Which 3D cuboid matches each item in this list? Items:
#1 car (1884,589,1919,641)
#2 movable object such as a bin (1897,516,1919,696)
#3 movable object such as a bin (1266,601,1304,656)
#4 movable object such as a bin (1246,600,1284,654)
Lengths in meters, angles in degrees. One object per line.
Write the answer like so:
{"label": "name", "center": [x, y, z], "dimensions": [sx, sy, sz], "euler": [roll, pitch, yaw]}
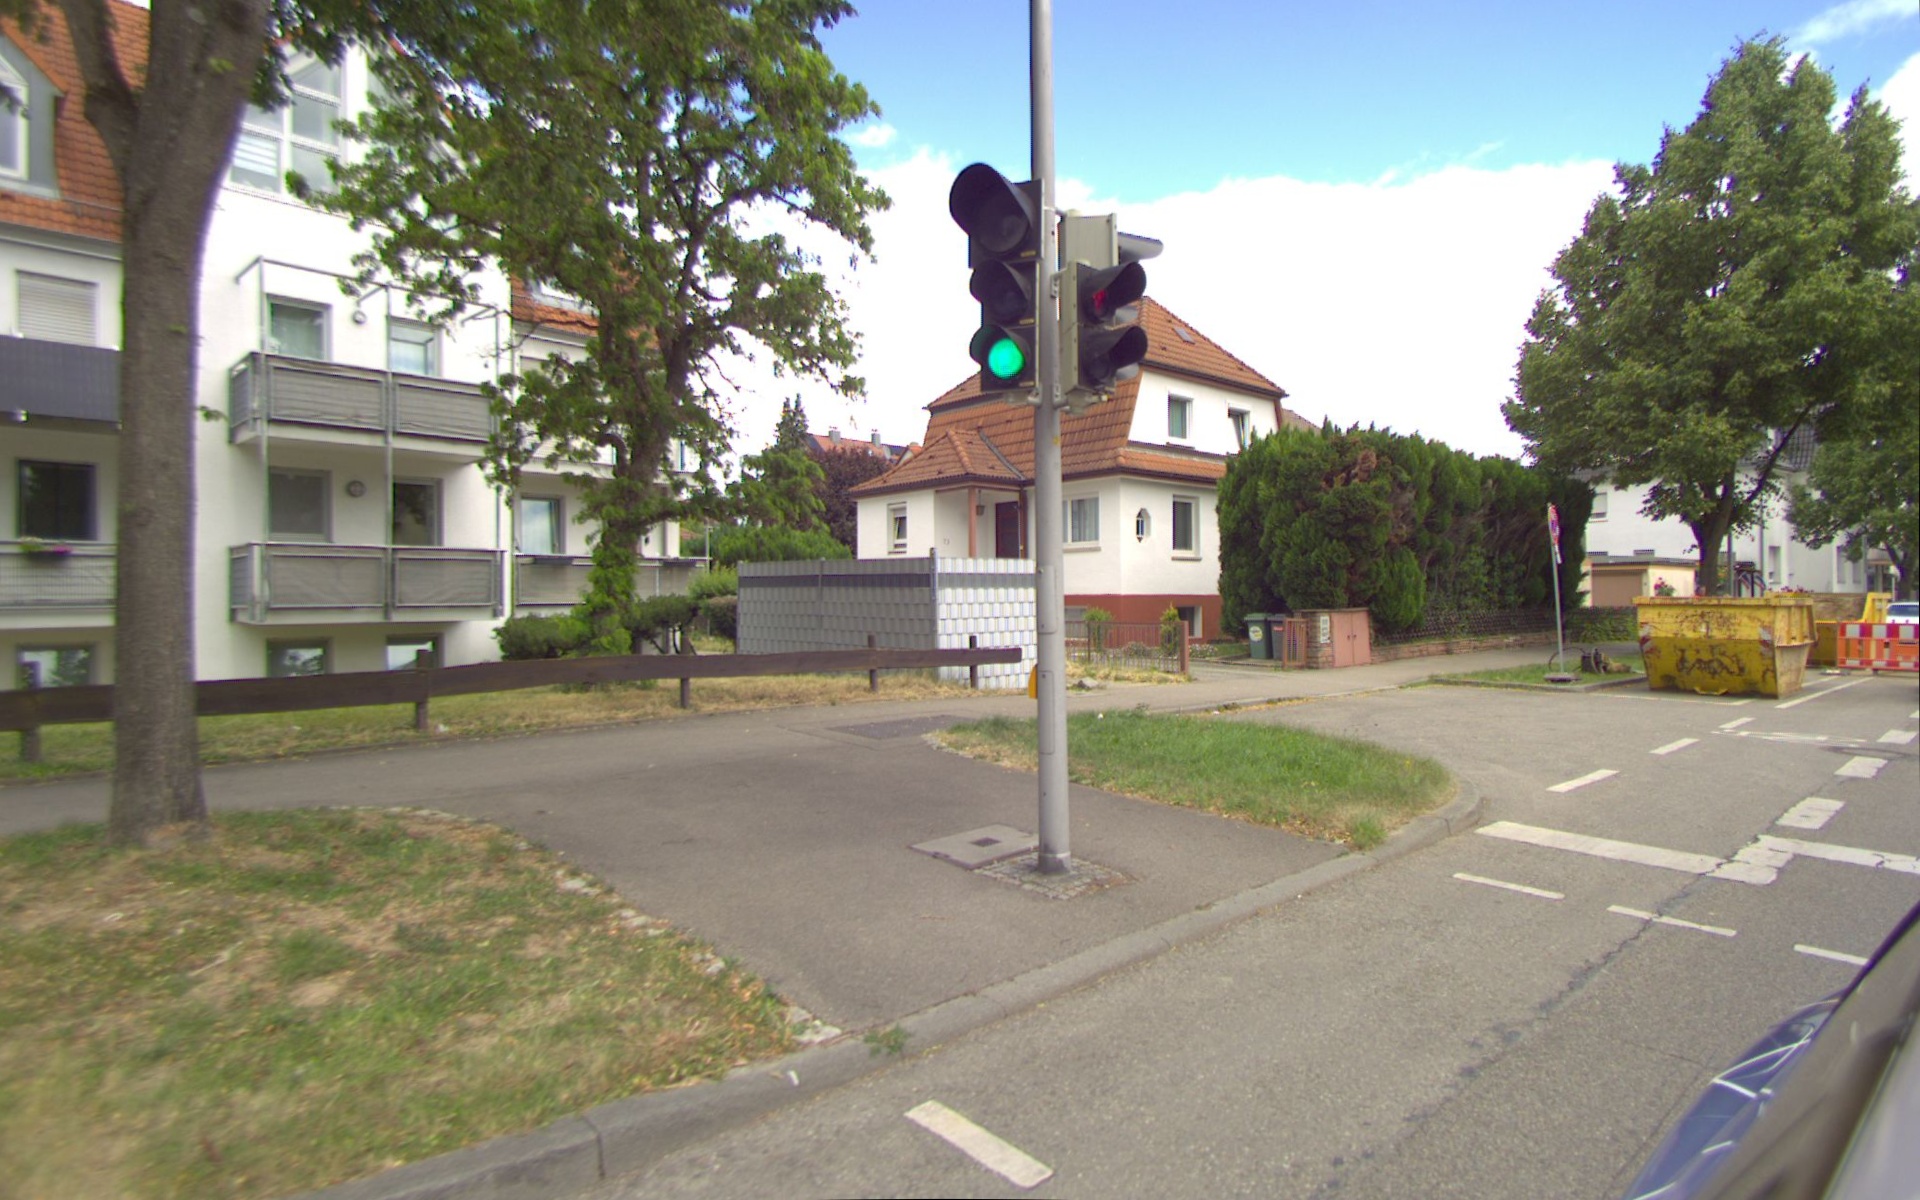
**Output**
{"label": "car", "center": [31.294, 0.464, 32.493], "dimensions": [3.974, 1.605, 1.822], "euler": [0, 0, -38]}
{"label": "movable object such as a bin", "center": [16.063, 0.083, 15.399], "dimensions": [4.464, 2.598, 1.998], "euler": [0, 0, -38]}
{"label": "movable object such as a bin", "center": [6.462, 0.556, 20.116], "dimensions": [0.509, 1.058, 0.501], "euler": [0, 0, -30]}
{"label": "movable object such as a bin", "center": [6.207, 0.548, 20.591], "dimensions": [0.508, 1.072, 0.542], "euler": [0, 0, -29]}
